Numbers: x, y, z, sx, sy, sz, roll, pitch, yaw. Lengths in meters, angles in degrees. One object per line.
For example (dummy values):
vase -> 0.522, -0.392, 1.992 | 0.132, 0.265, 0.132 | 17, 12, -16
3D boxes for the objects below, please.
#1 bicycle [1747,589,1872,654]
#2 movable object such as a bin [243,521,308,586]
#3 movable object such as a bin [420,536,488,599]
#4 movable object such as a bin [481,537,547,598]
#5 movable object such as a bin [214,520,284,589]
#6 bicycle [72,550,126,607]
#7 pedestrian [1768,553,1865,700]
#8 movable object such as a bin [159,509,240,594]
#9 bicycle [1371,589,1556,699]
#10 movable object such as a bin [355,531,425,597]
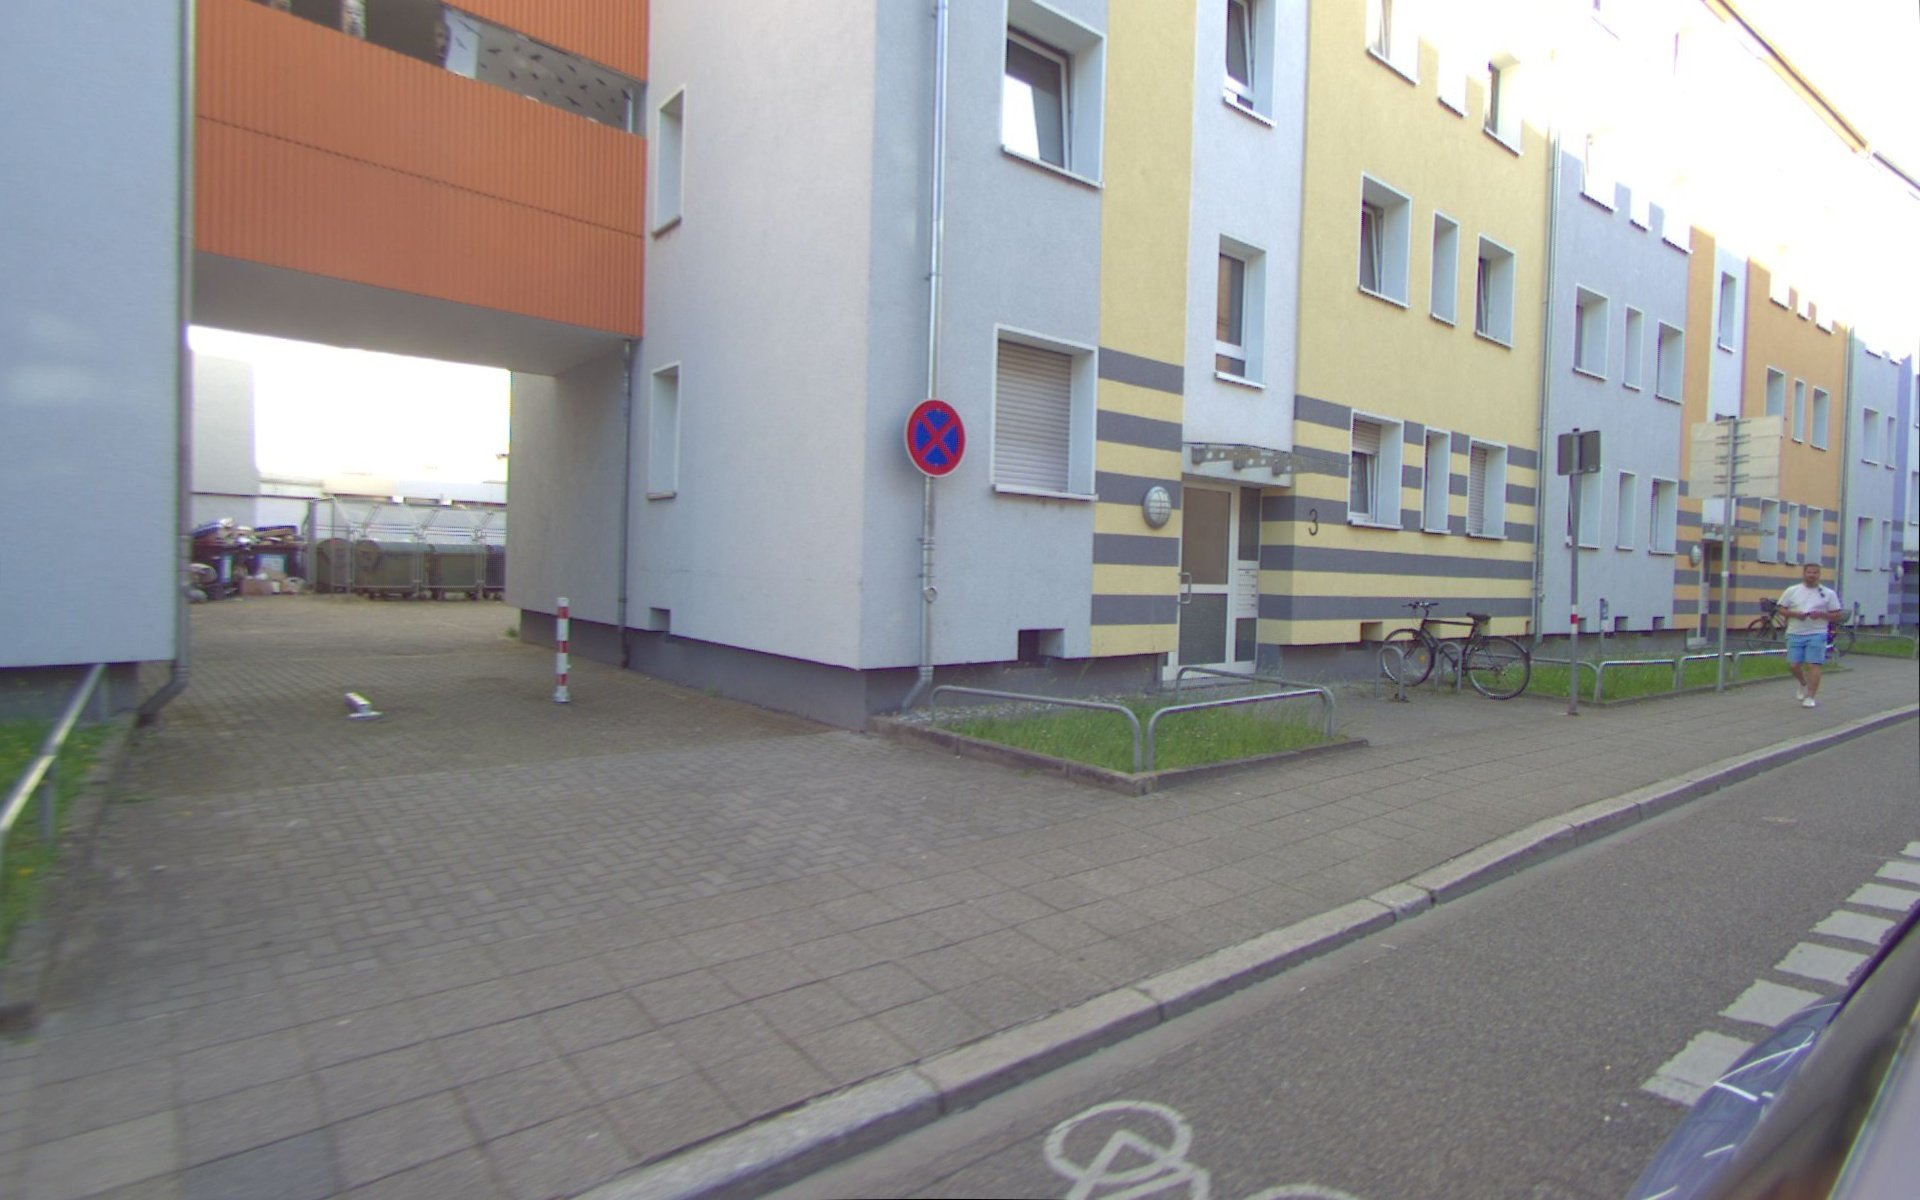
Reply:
bicycle -> 16.932, 0.403, 20.202 | 0.573, 1.137, 1.777 | 0, 4, -39
movable object such as a bin -> -17.638, -1.206, 26.108 | 1.159, 1.603, 1.238 | 1, 3, -23
movable object such as a bin -> -12.794, -0.838, 25.575 | 1.307, 1.518, 1.184 | -1, 4, -39
movable object such as a bin -> -11.676, -0.866, 26.485 | 1.307, 1.518, 1.184 | -1, 4, -39
movable object such as a bin -> -17.322, -1.119, 24.685 | 1.159, 1.603, 1.238 | 1, 3, -23
bicycle -> -16.549, -0.439, 19.431 | 0.669, 1.023, 2.455 | 0, 2, -43
pedestrian -> 10.324, 0.292, 12.202 | 0.818, 1.692, 0.645 | 0, 3, -36
movable object such as a bin -> -16.929, -1.074, 22.560 | 1.159, 1.805, 1.238 | 1, 3, -23
bicycle -> 5.752, 0.463, 11.653 | 0.574, 1.061, 1.775 | -1, 4, -43
movable object such as a bin -> -13.867, -0.886, 24.615 | 1.307, 1.518, 1.184 | -1, 4, -39
